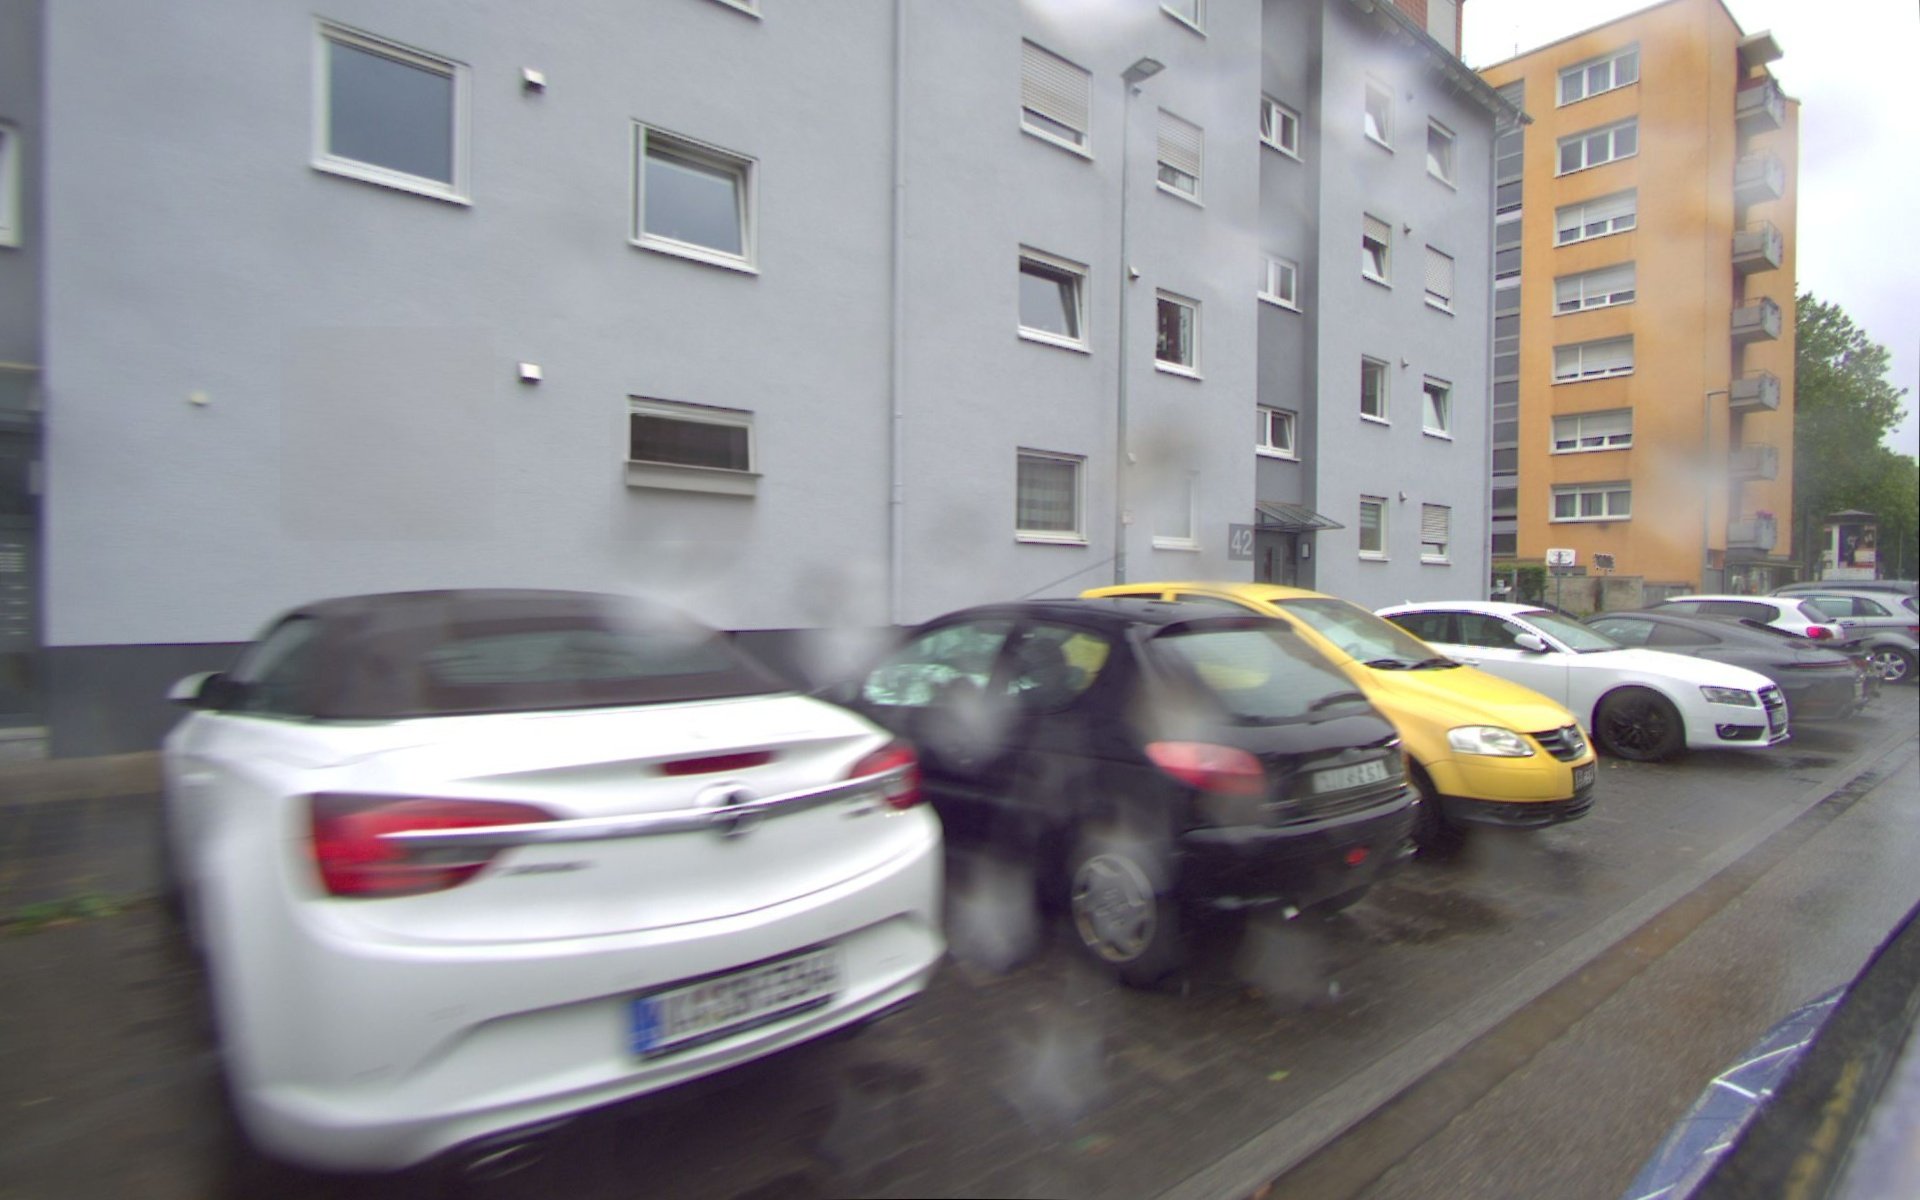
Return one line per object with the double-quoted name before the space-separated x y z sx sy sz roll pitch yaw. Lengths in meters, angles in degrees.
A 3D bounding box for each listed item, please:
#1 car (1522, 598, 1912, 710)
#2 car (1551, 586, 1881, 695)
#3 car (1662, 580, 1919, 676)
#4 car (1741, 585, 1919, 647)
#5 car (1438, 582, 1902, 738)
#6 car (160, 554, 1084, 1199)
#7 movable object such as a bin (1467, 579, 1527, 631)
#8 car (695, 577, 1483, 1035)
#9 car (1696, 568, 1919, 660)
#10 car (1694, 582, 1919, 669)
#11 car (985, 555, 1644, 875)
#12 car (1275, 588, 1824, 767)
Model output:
"car" 10.043 0.609 13.661 1.920 1.223 3.864 0 1 -38
"car" 11.666 0.524 15.800 1.805 1.472 3.860 0 1 -42
"car" 15.672 0.450 18.658 1.858 1.591 4.188 -1 1 -41
"car" 23.742 0.387 26.792 1.948 1.488 4.543 -1 2 -40
"car" 8.193 0.557 11.982 1.977 1.505 4.151 -1 1 -40
"car" -1.702 0.644 3.745 1.964 1.476 4.107 0 1 -39
"movable object such as a bin" 14.855 0.123 28.003 0.806 1.395 1.240 1 0 -33
"car" 0.311 0.637 5.328 1.750 1.460 3.994 -1 1 -40
"car" 19.116 0.237 22.452 1.912 1.827 4.237 -1 2 -43
"car" 17.562 0.440 20.399 1.856 1.588 4.196 -1 1 -42
"car" 2.190 0.544 7.079 1.821 1.571 3.993 -1 1 -41
"car" 5.908 0.610 10.706 1.964 1.454 4.639 -1 1 -38
